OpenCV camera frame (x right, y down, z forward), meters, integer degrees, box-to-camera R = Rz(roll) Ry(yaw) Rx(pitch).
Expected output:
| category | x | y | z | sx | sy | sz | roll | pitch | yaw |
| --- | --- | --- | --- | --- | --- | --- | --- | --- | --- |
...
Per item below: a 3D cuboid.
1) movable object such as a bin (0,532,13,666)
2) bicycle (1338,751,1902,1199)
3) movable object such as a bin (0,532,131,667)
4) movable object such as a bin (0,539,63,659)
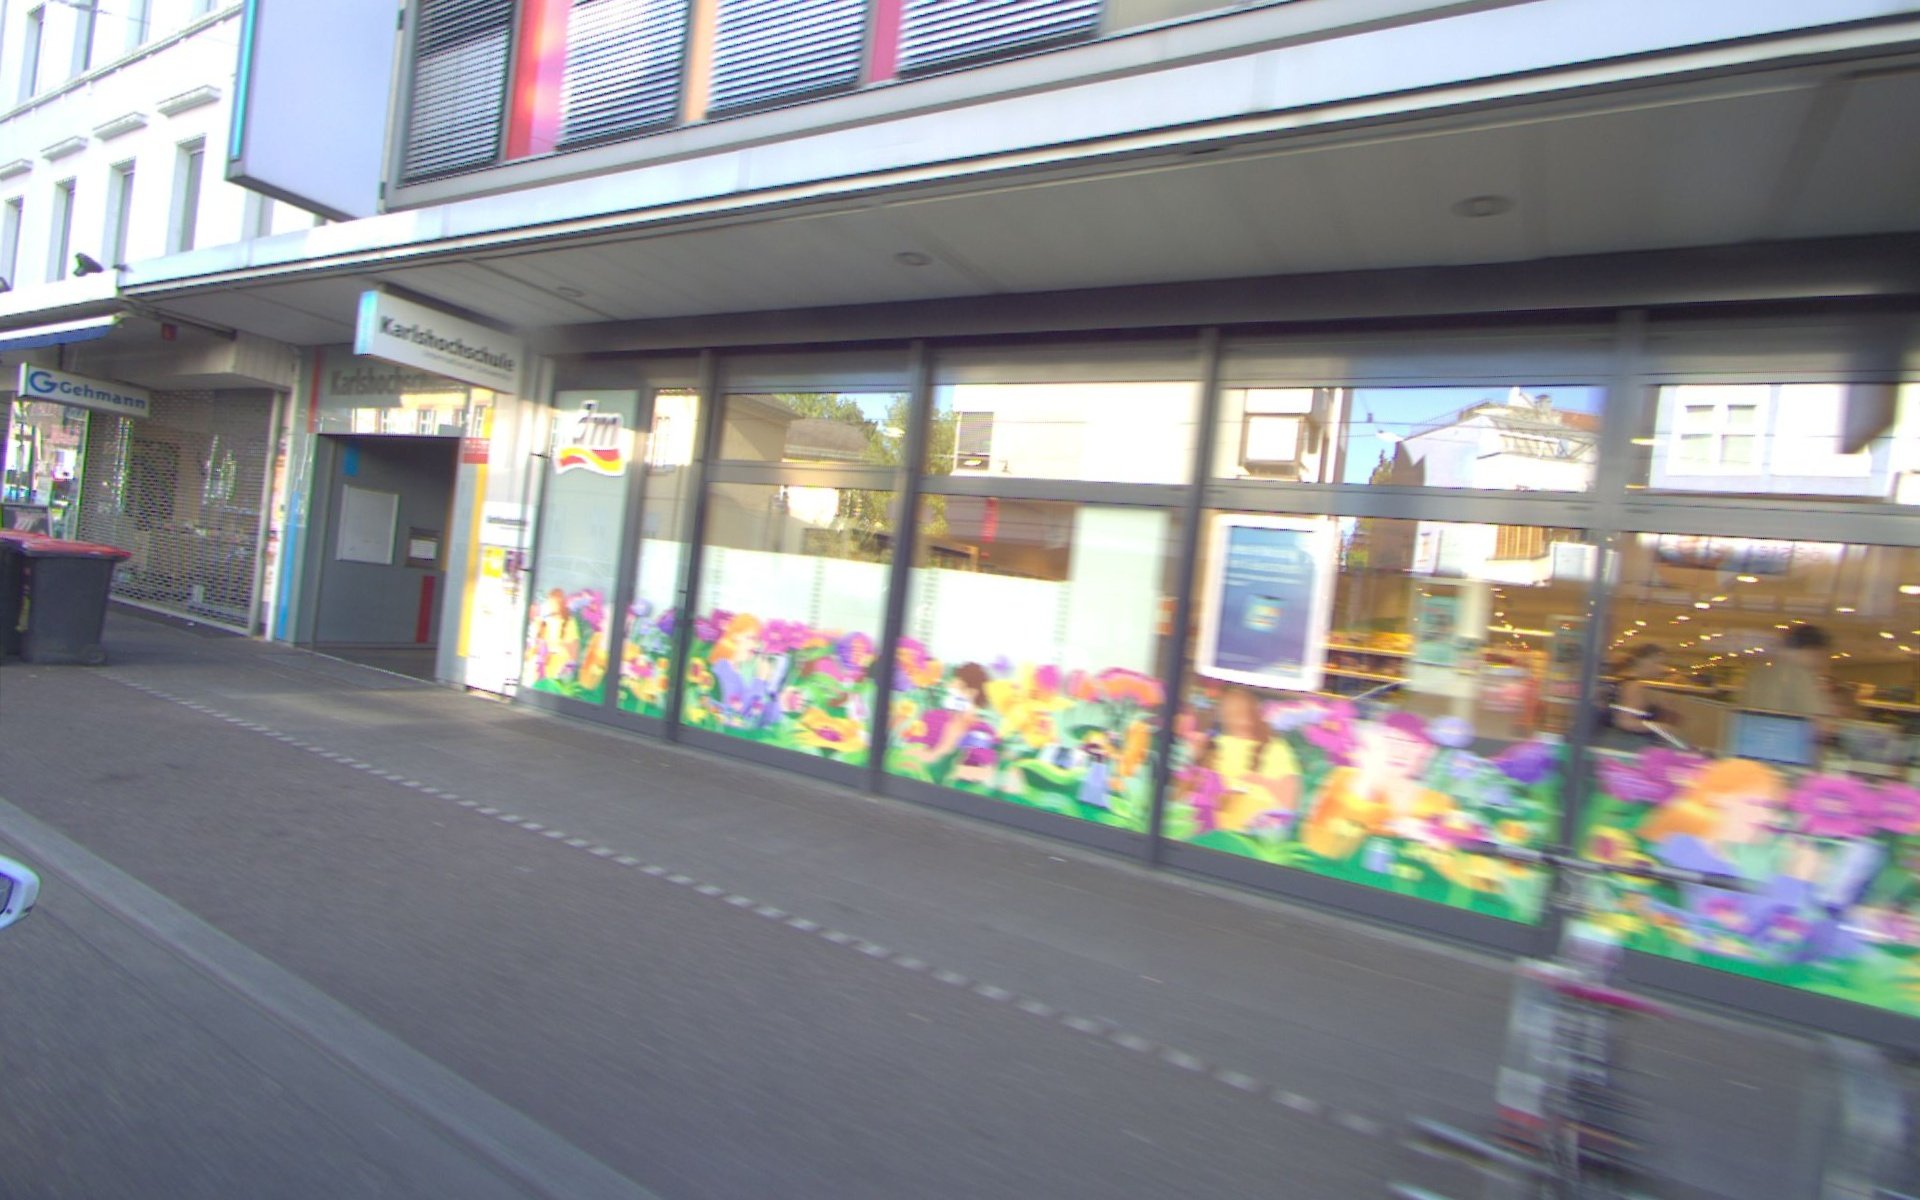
| category | x | y | z | sx | sy | sz | roll | pitch | yaw |
| --- | --- | --- | --- | --- | --- | --- | --- | --- | --- |
| movable object such as a bin | -8.408 | -0.049 | 8.294 | 0.675 | 1.102 | 0.690 | 7 | 1 | 35 |
| bicycle | 1.386 | 1.050 | 2.320 | 0.658 | 1.174 | 1.789 | 7 | 1 | 31 |
| movable object such as a bin | -7.951 | 0.005 | 8.938 | 0.655 | 1.102 | 0.690 | 7 | 1 | 35 |
| movable object such as a bin | -8.710 | -0.025 | 9.128 | 0.626 | 1.027 | 0.658 | 7 | 1 | 34 |
